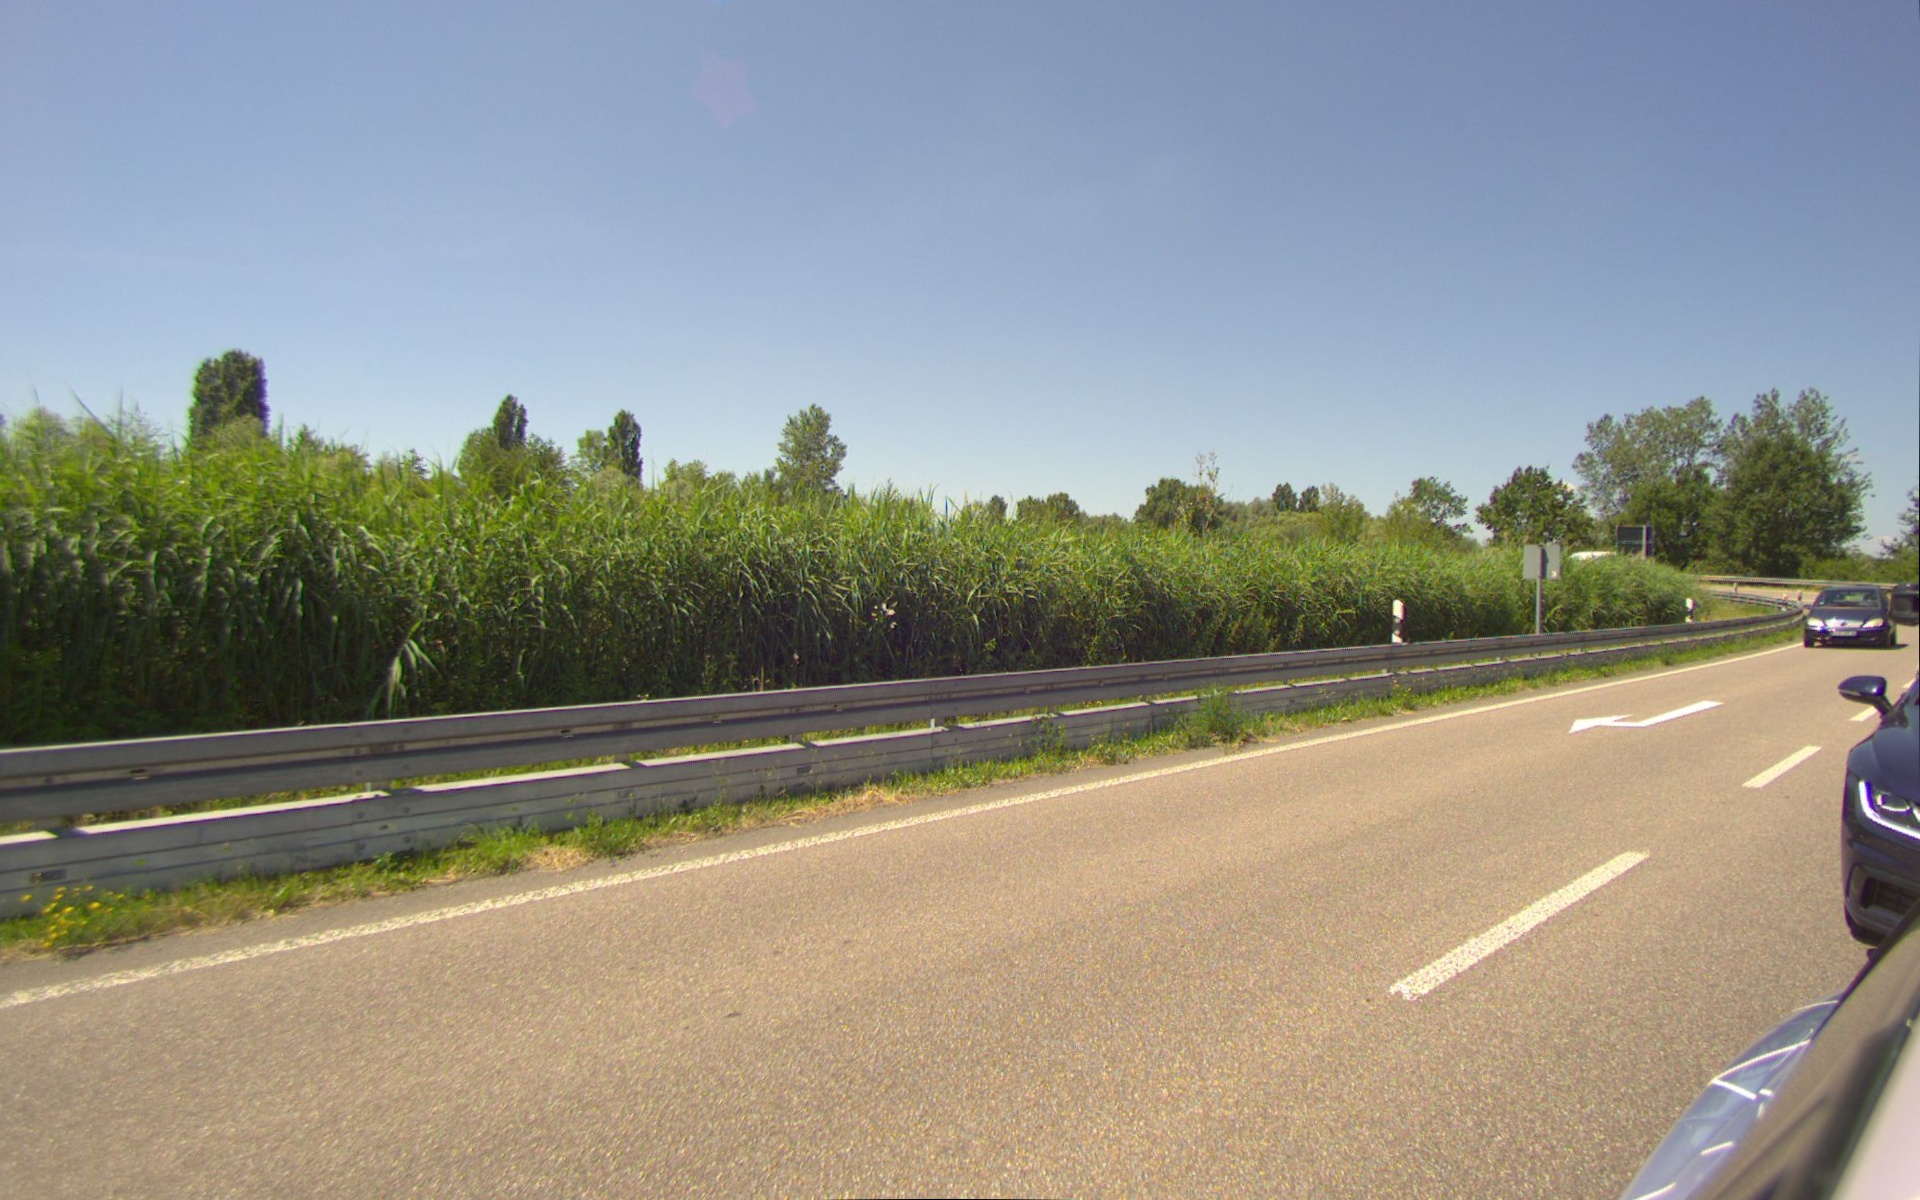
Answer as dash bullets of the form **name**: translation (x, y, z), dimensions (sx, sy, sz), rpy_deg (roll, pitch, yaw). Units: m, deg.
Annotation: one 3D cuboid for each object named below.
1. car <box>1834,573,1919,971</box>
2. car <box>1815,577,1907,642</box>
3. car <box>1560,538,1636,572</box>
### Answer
- **car**: translation (5.637, 0.628, 4.683), dimensions (4.338, 1.481, 1.818), rpy_deg (-1, 1, -41)
- **car**: translation (24.021, 0.216, 26.948), dimensions (1.668, 1.620, 3.497), rpy_deg (0, 1, 44)
- **car**: translation (51.771, -3.615, 82.260), dimensions (1.960, 2.445, 5.598), rpy_deg (-6, 2, -7)
